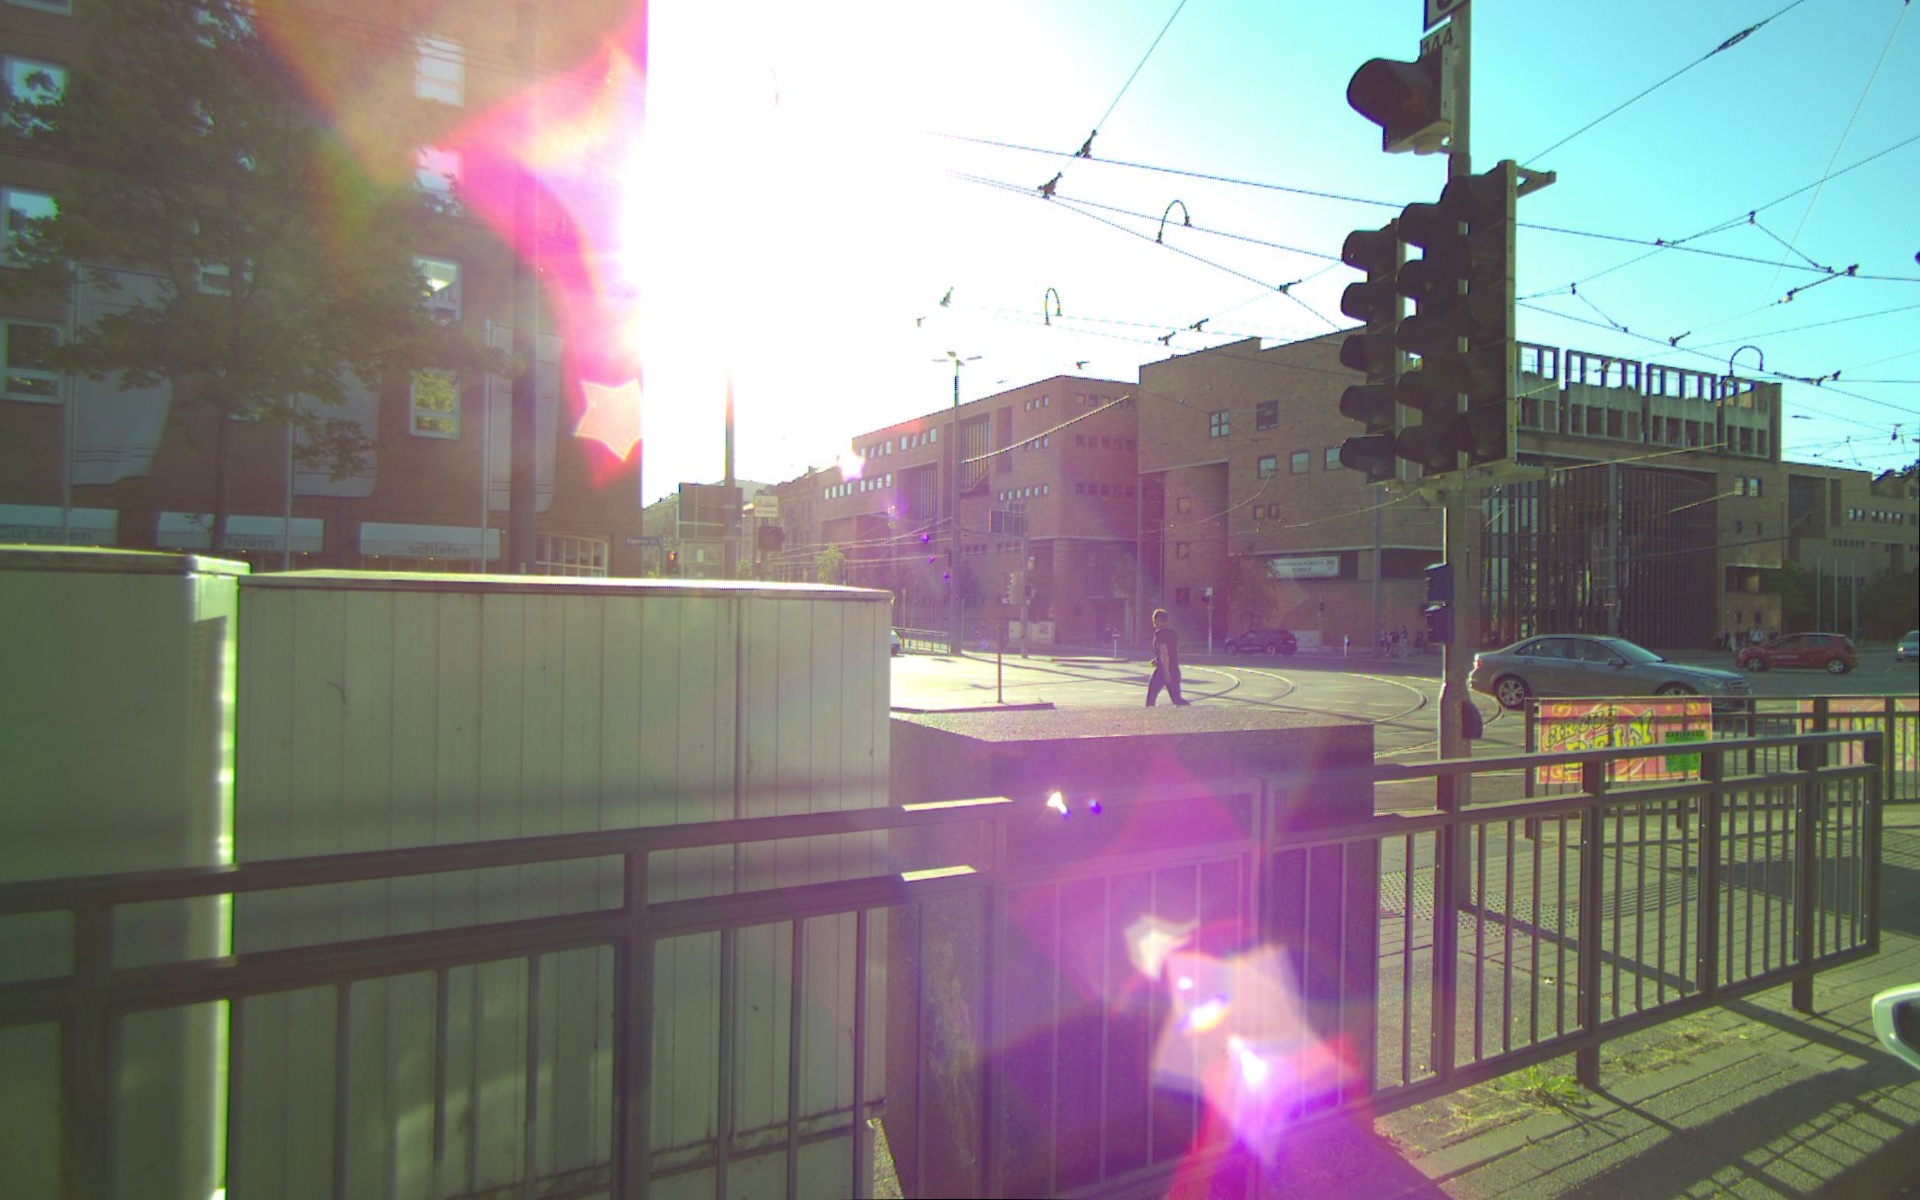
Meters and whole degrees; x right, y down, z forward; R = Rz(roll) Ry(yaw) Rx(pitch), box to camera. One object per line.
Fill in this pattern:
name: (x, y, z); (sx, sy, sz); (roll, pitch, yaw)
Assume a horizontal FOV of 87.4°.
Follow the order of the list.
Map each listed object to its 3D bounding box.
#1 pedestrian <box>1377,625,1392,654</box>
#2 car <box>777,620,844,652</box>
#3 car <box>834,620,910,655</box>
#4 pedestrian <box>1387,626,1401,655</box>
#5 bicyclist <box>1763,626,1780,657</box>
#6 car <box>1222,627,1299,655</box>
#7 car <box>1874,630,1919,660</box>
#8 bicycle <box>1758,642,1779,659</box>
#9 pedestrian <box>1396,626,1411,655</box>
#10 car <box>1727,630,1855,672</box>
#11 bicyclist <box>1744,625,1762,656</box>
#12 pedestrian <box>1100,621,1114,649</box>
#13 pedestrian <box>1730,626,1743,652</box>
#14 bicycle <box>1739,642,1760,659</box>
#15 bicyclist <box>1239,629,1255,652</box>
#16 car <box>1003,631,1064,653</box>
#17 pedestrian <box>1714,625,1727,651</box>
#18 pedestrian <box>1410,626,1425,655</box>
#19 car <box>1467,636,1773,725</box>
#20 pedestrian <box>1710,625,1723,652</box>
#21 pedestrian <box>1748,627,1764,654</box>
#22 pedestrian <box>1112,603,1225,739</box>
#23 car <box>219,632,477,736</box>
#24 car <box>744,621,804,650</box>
pedestrian: (25.247, 2.356, 59.750); (0.533, 1.672, 0.620); (1, -1, -34)
car: (-8.481, 2.012, 56.701); (1.981, 1.719, 4.316); (1, -2, -36)
car: (-4.609, 1.906, 52.055); (1.981, 1.719, 4.316); (1, -2, -36)
pedestrian: (24.449, 2.280, 56.650); (0.560, 1.635, 0.545); (0, -1, 1)
bicyclist: (45.097, 2.281, 55.819); (0.782, 1.697, 0.589); (1, -1, -36)
car: (16.813, 2.273, 56.323); (1.779, 1.527, 3.832); (1, -2, -38)
car: (50.034, 2.351, 52.954); (3.961, 1.528, 1.980); (1, -2, -36)
bicycle: (44.992, 2.799, 55.873); (1.823, 0.893, 0.509); (2, -2, -38)
pedestrian: (25.574, 2.348, 57.891); (0.533, 1.672, 0.619); (1, -1, -36)
car: (31.854, 1.926, 38.543); (1.782, 1.486, 3.565); (2, -2, -41)
bicyclist: (44.513, 2.264, 56.356); (0.782, 1.697, 0.589); (1, -1, -36)
pedestrian: (8.624, 2.060, 58.935); (0.608, 1.635, 0.540); (-1, 2, -35)
pedestrian: (53.839, 2.714, 69.666); (0.537, 1.803, 0.521); (0, -1, -23)
bicycle: (44.340, 2.829, 56.431); (1.823, 0.893, 0.509); (2, -2, -38)
bicyclist: (17.256, 2.429, 60.385); (0.809, 1.384, 0.399); (-1, -2, 38)
car: (4.929, 2.819, 68.118); (1.780, 1.453, 4.207); (1, -2, -39)
pedestrian: (53.395, 2.691, 70.516); (0.538, 1.834, 0.489); (1, -1, -23)
pedestrian: (26.484, 2.342, 58.148); (0.532, 1.672, 0.620); (1, -1, -33)
car: (12.092, 1.394, 18.686); (1.980, 1.398, 4.351); (1, -2, -35)
pedestrian: (52.557, 2.664, 69.764); (0.538, 1.834, 0.488); (1, -1, -23)
pedestrian: (54.366, 2.751, 68.596); (0.537, 1.834, 0.640); (1, -1, -23)
pedestrian: (2.972, 0.979, 14.373); (1.032, 1.846, 1.200); (2, -1, -36)
car: (-9.447, 1.223, 15.583); (3.276, 1.416, 1.622); (2, -2, -37)
car: (-11.449, 2.185, 61.724); (1.981, 1.719, 4.316); (1, -2, -36)
